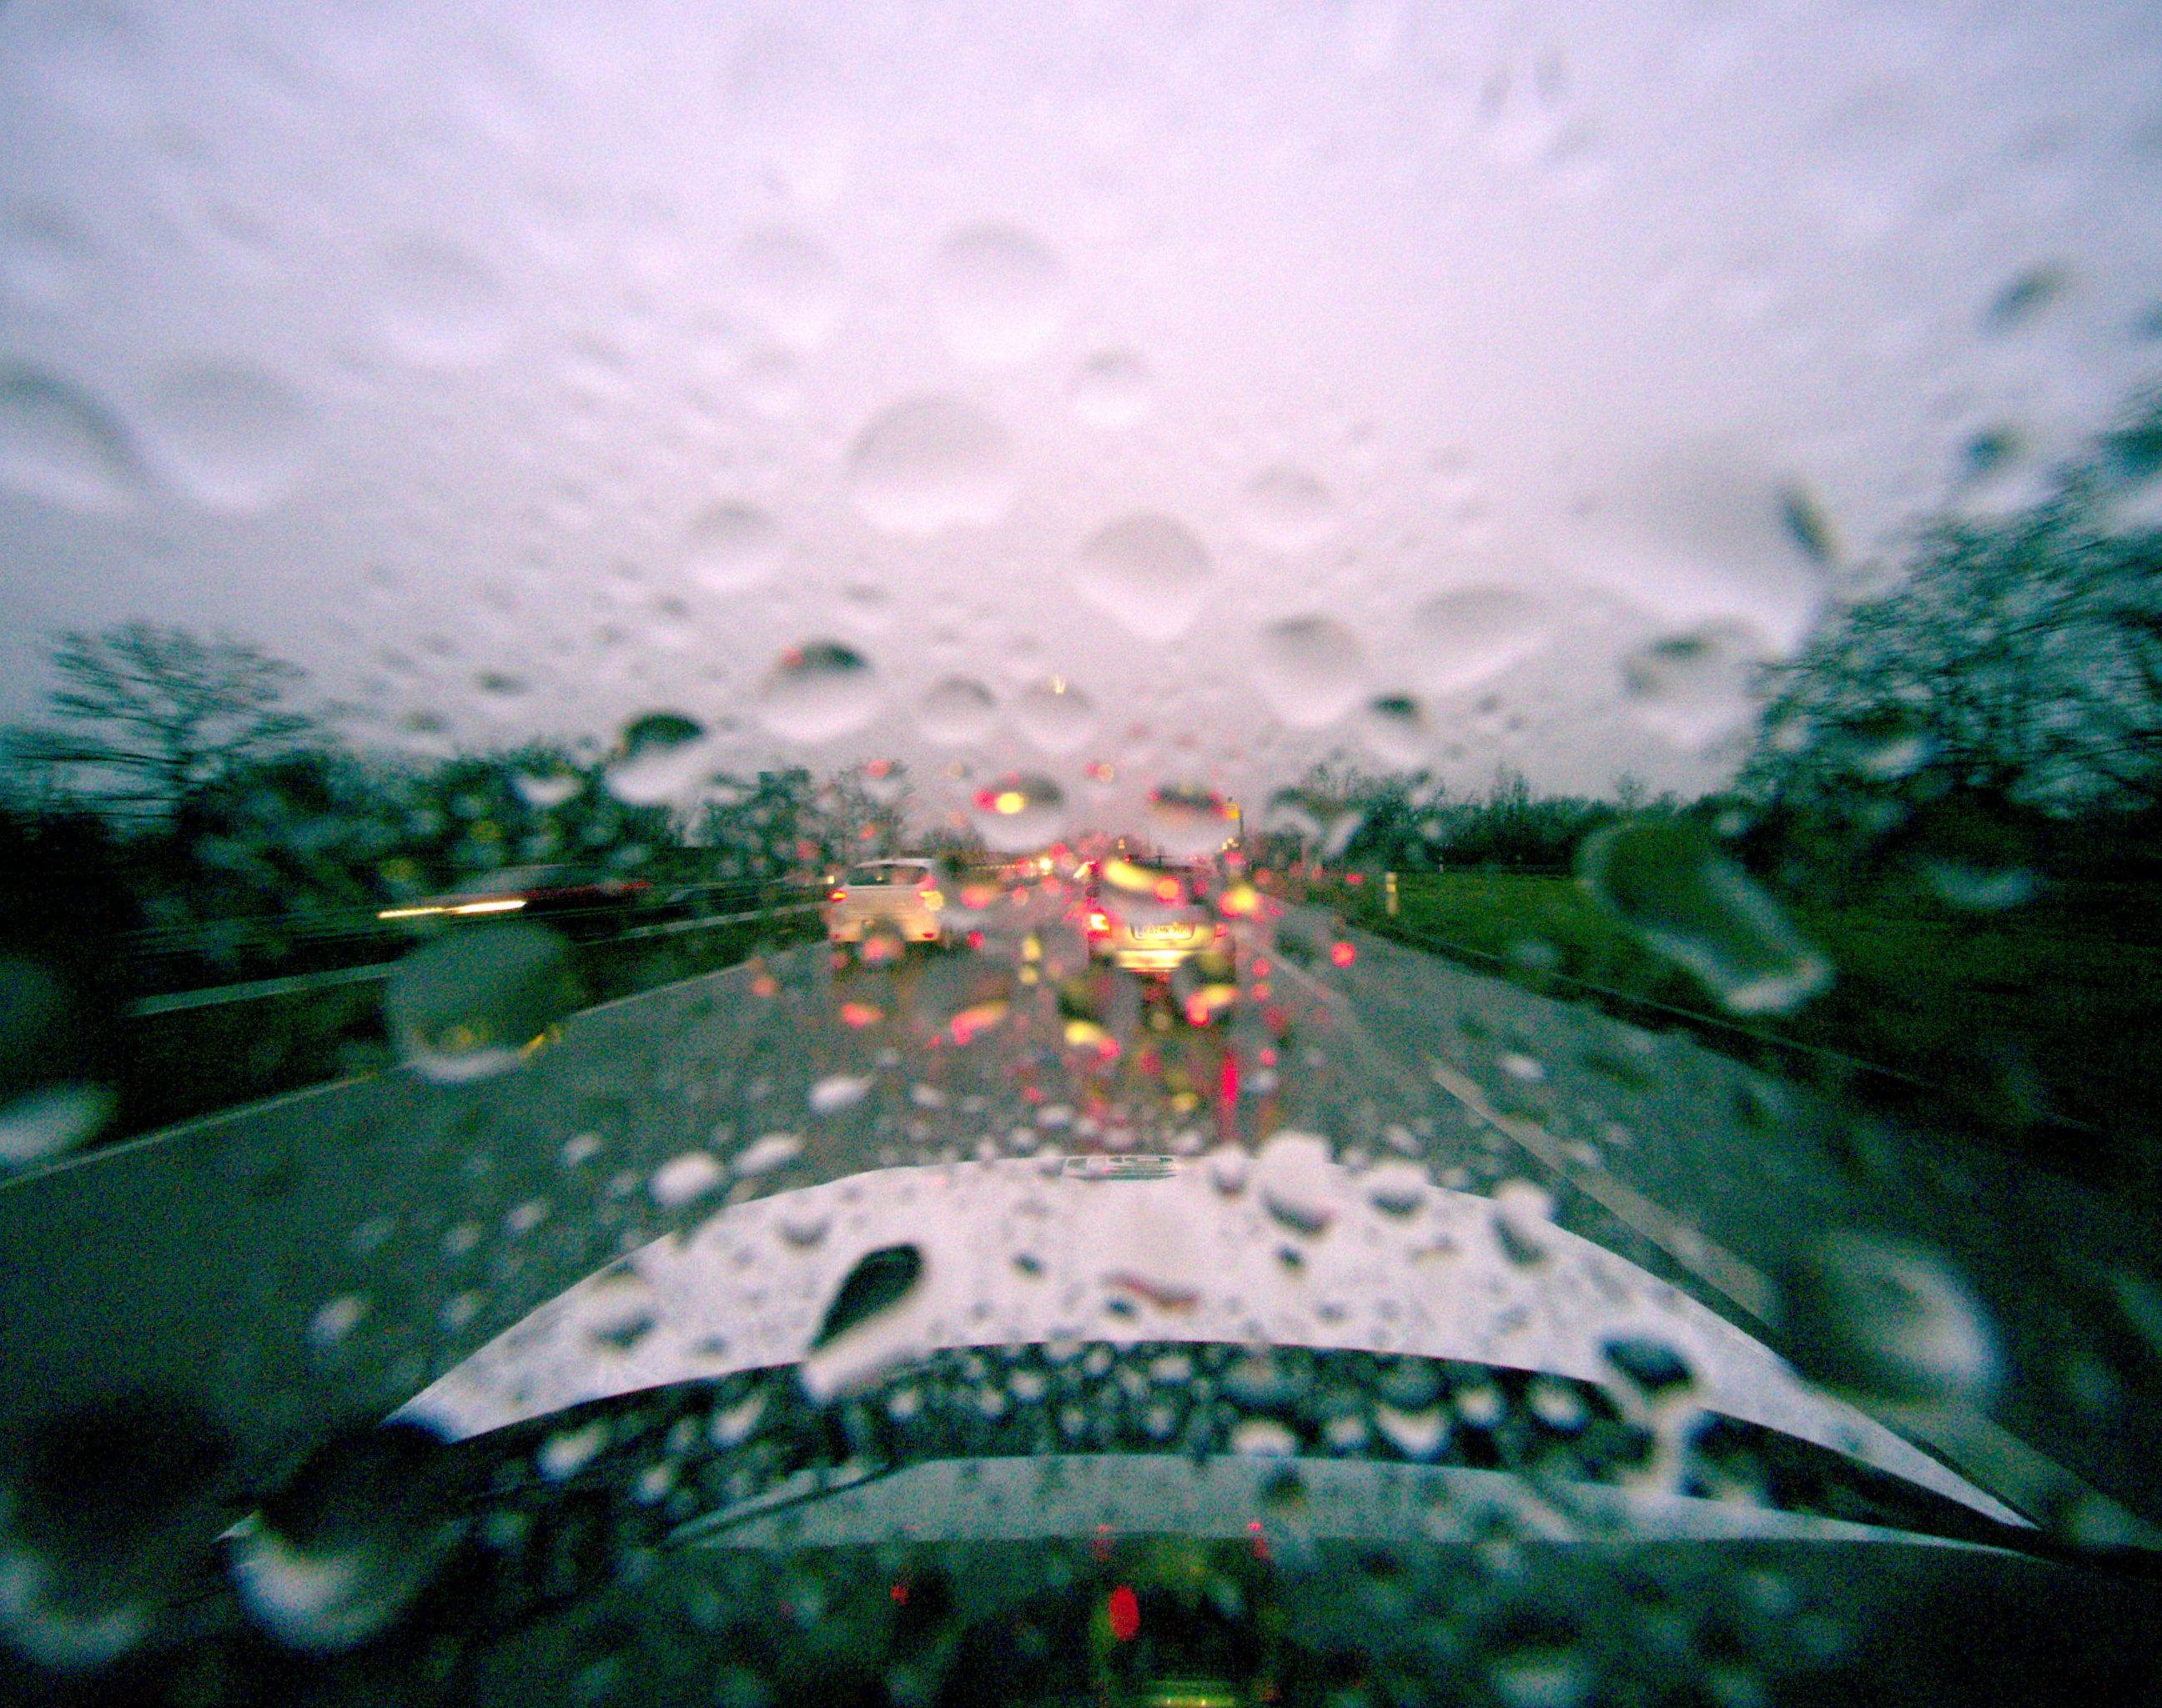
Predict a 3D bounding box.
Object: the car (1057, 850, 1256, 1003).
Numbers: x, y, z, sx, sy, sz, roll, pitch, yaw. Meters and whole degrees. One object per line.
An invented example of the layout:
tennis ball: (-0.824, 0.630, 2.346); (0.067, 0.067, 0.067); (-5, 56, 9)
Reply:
car: (0.887, 0.754, 10.352); (1.985, 1.500, 4.141); (-2, -1, 3)

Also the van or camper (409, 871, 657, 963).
van or camper: (-10.704, 1.148, 16.380); (1.518, 1.481, 4.443); (-2, 0, 8)

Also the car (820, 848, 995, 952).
car: (-2.724, 0.678, 13.812); (1.716, 1.440, 4.230); (-2, -1, 4)

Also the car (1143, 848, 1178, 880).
car: (4.790, 0.570, 48.651); (1.887, 1.767, 4.317); (-2, 0, 7)

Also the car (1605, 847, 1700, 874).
car: (31.263, 0.348, 44.704); (3.951, 1.345, 2.011); (-1, 0, 23)

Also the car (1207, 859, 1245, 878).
car: (12.199, 1.224, 68.809); (1.790, 1.545, 3.984); (-2, 0, -11)

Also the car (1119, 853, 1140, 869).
car: (4.964, 0.735, 83.416); (1.779, 1.545, 4.009); (-2, 0, 8)

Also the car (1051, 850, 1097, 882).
car: (-0.313, 0.611, 43.717); (1.983, 1.601, 4.316); (0, 0, 6)
